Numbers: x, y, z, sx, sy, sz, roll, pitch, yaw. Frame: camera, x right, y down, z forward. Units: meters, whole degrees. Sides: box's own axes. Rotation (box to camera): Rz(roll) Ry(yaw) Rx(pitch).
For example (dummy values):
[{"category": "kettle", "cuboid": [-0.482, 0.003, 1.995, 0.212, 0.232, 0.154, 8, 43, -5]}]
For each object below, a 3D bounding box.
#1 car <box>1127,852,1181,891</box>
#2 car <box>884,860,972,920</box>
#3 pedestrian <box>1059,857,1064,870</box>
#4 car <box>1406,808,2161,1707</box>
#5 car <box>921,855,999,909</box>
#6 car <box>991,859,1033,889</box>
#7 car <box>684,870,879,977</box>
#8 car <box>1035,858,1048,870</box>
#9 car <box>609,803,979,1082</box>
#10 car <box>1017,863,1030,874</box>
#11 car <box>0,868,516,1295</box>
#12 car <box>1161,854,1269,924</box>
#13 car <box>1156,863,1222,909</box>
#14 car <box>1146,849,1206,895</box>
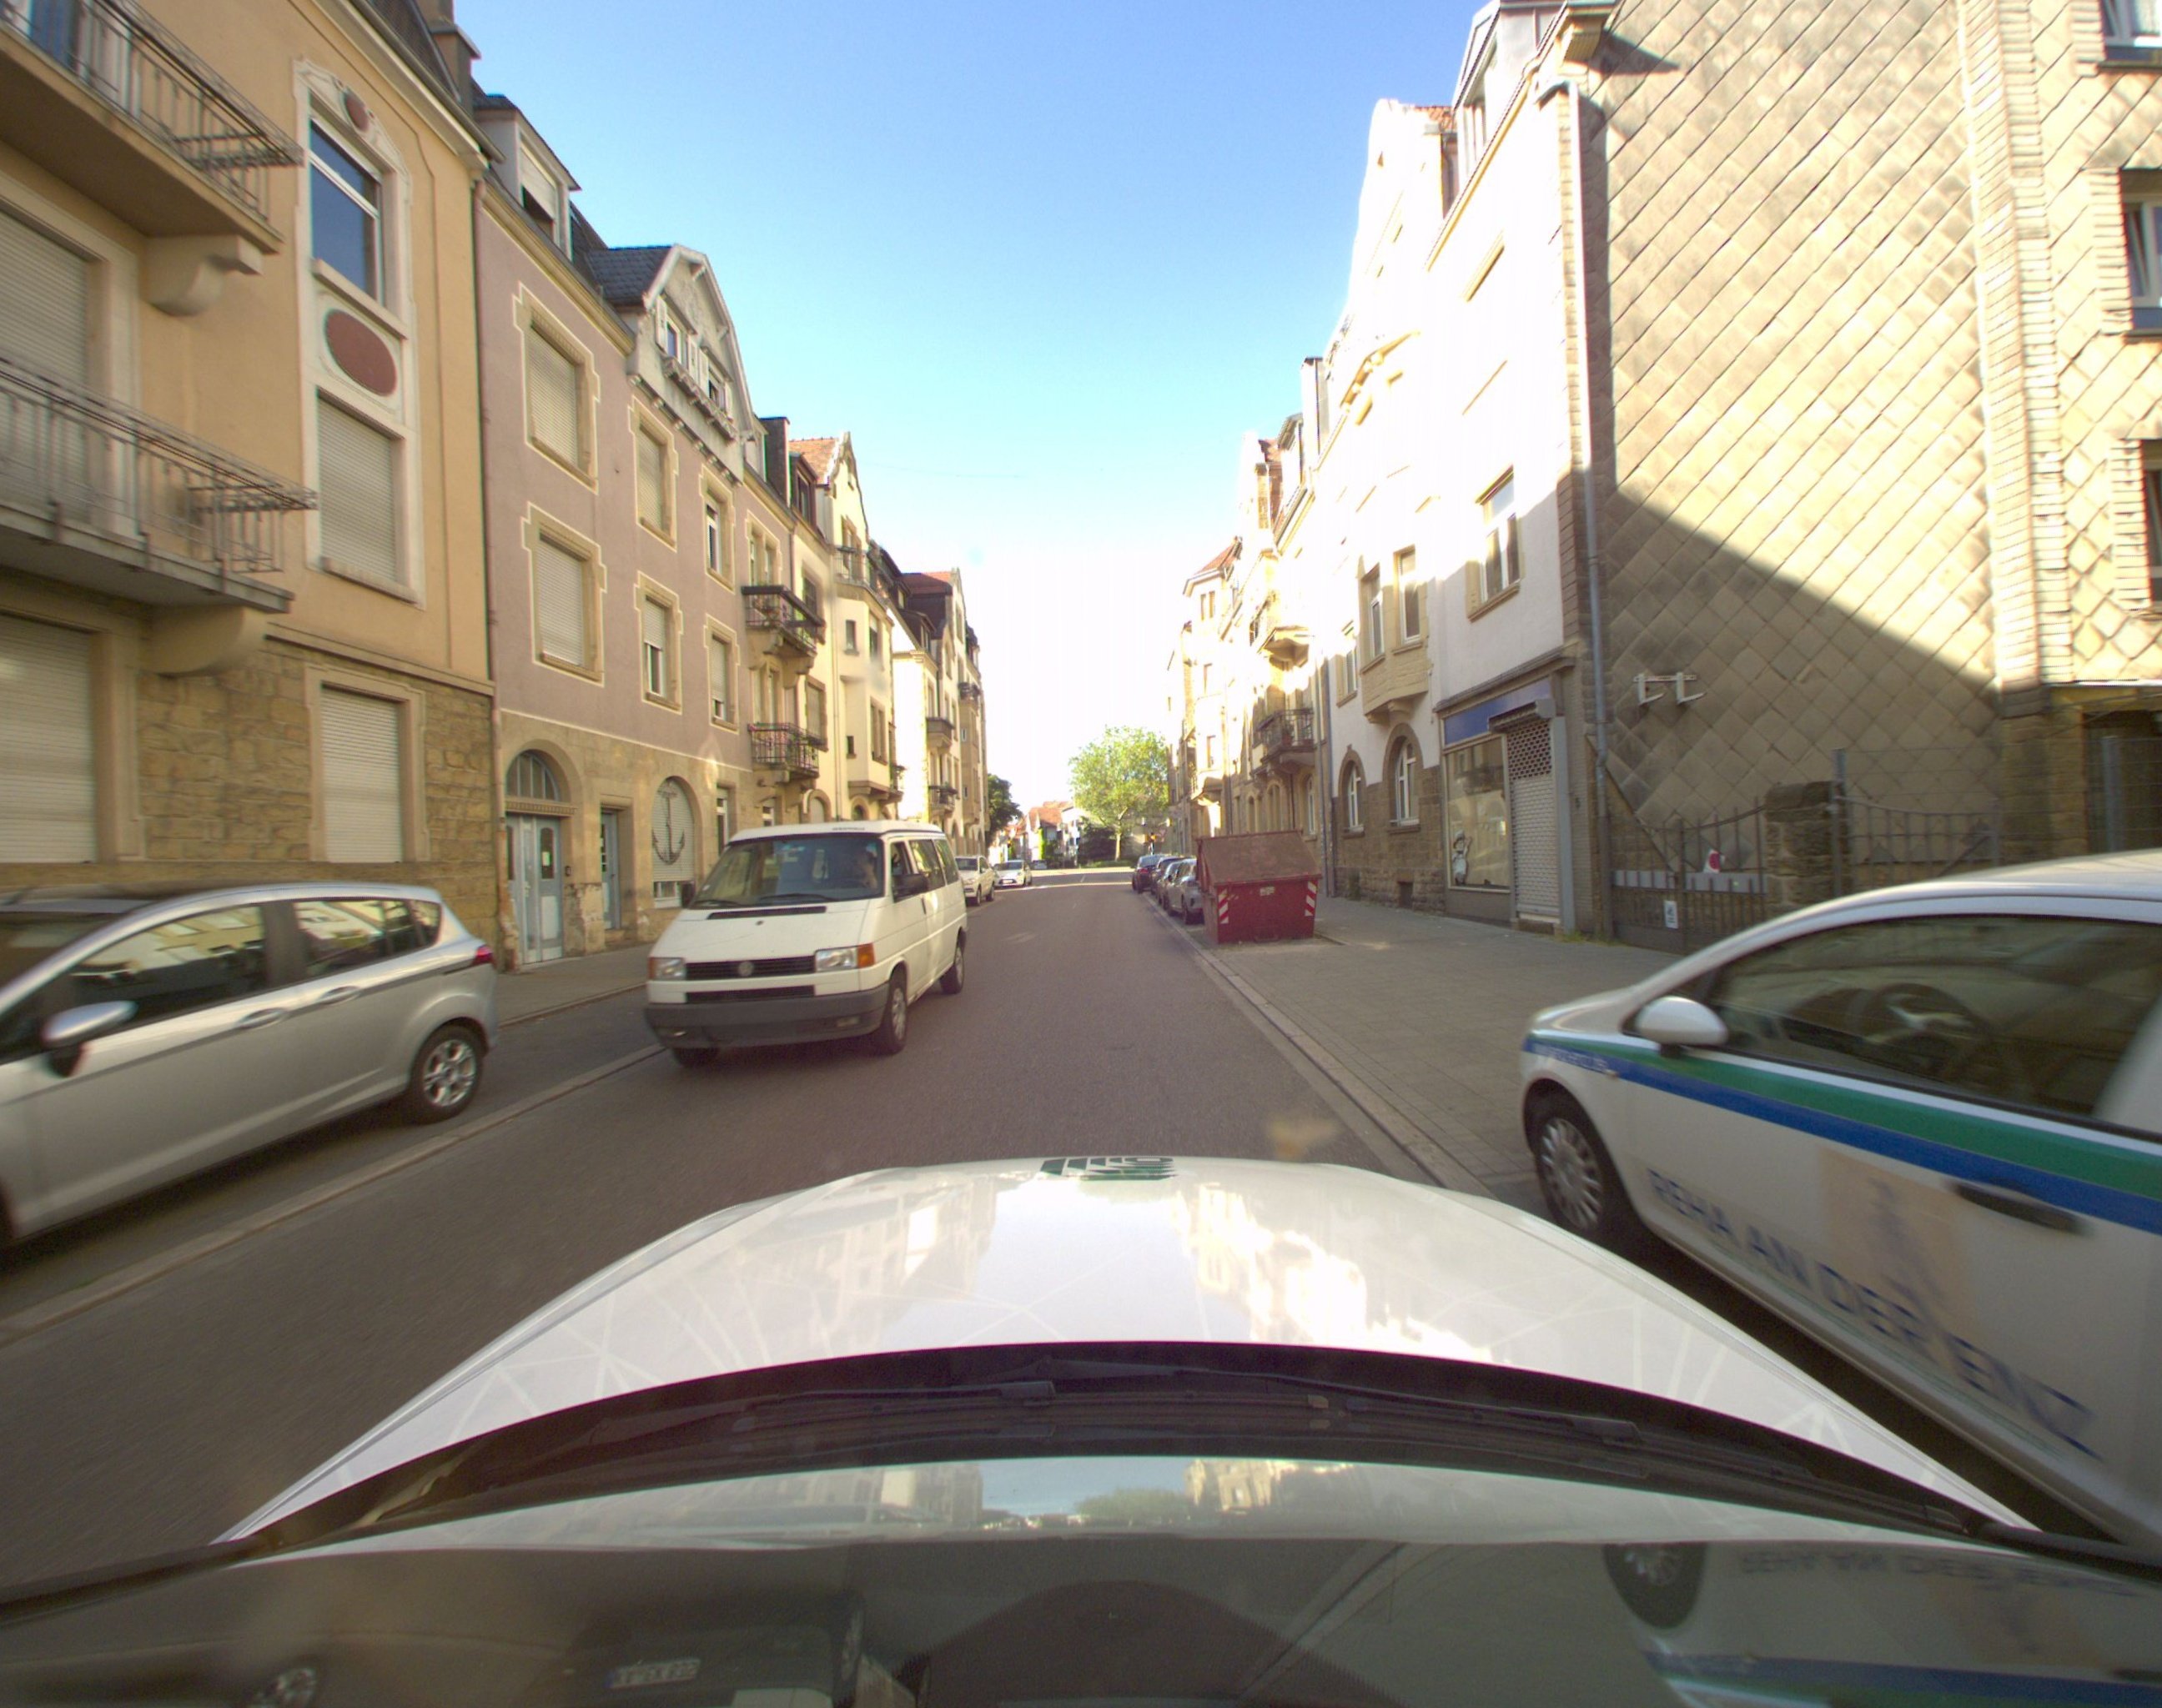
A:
[{"category": "car", "cuboid": [2.970, 0.680, 33.887, 1.859, 1.462, 4.340, -3, 0, 1]}, {"category": "car", "cuboid": [-4.278, 0.955, 23.389, 1.567, 1.487, 4.282, -1, 0, 2]}, {"category": "pedestrian", "cuboid": [-2.708, 1.291, 112.383, 0.631, 1.750, 0.659, -1, -1, -1]}, {"category": "car", "cuboid": [2.465, 0.631, 2.260, 1.581, 1.464, 3.711, -3, 0, 0]}, {"category": "car", "cuboid": [-4.203, 0.923, 28.987, 1.884, 1.722, 4.728, -1, 0, 2]}, {"category": "car", "cuboid": [-3.678, 1.031, 43.851, 1.626, 1.464, 3.739, -2, 0, 4]}, {"category": "car", "cuboid": [-4.625, 0.996, 13.174, 1.666, 1.393, 3.668, 1, 0, 2]}, {"category": "car", "cuboid": [-5.303, 1.372, 109.926, 1.671, 1.483, 3.516, -1, -1, -4]}, {"category": "car", "cuboid": [-2.363, 0.636, 8.164, 1.856, 1.937, 4.602, -2, 0, 2]}, {"category": "car", "cuboid": [-10.411, 2.605, 147.054, 1.992, 2.013, 3.990, -3, 0, -7]}, {"category": "car", "cuboid": [-4.902, 0.902, 3.918, 1.709, 1.538, 3.723, -2, 0, 0]}, {"category": "car", "cuboid": [3.054, 0.746, 19.272, 1.781, 1.429, 3.805, -2, 0, -2]}, {"category": "car", "cuboid": [3.143, 0.901, 24.354, 1.685, 1.254, 3.944, -1, -1, 3]}, {"category": "car", "cuboid": [3.329, 0.611, 29.262, 1.645, 1.442, 4.259, -3, 0, 1]}]
